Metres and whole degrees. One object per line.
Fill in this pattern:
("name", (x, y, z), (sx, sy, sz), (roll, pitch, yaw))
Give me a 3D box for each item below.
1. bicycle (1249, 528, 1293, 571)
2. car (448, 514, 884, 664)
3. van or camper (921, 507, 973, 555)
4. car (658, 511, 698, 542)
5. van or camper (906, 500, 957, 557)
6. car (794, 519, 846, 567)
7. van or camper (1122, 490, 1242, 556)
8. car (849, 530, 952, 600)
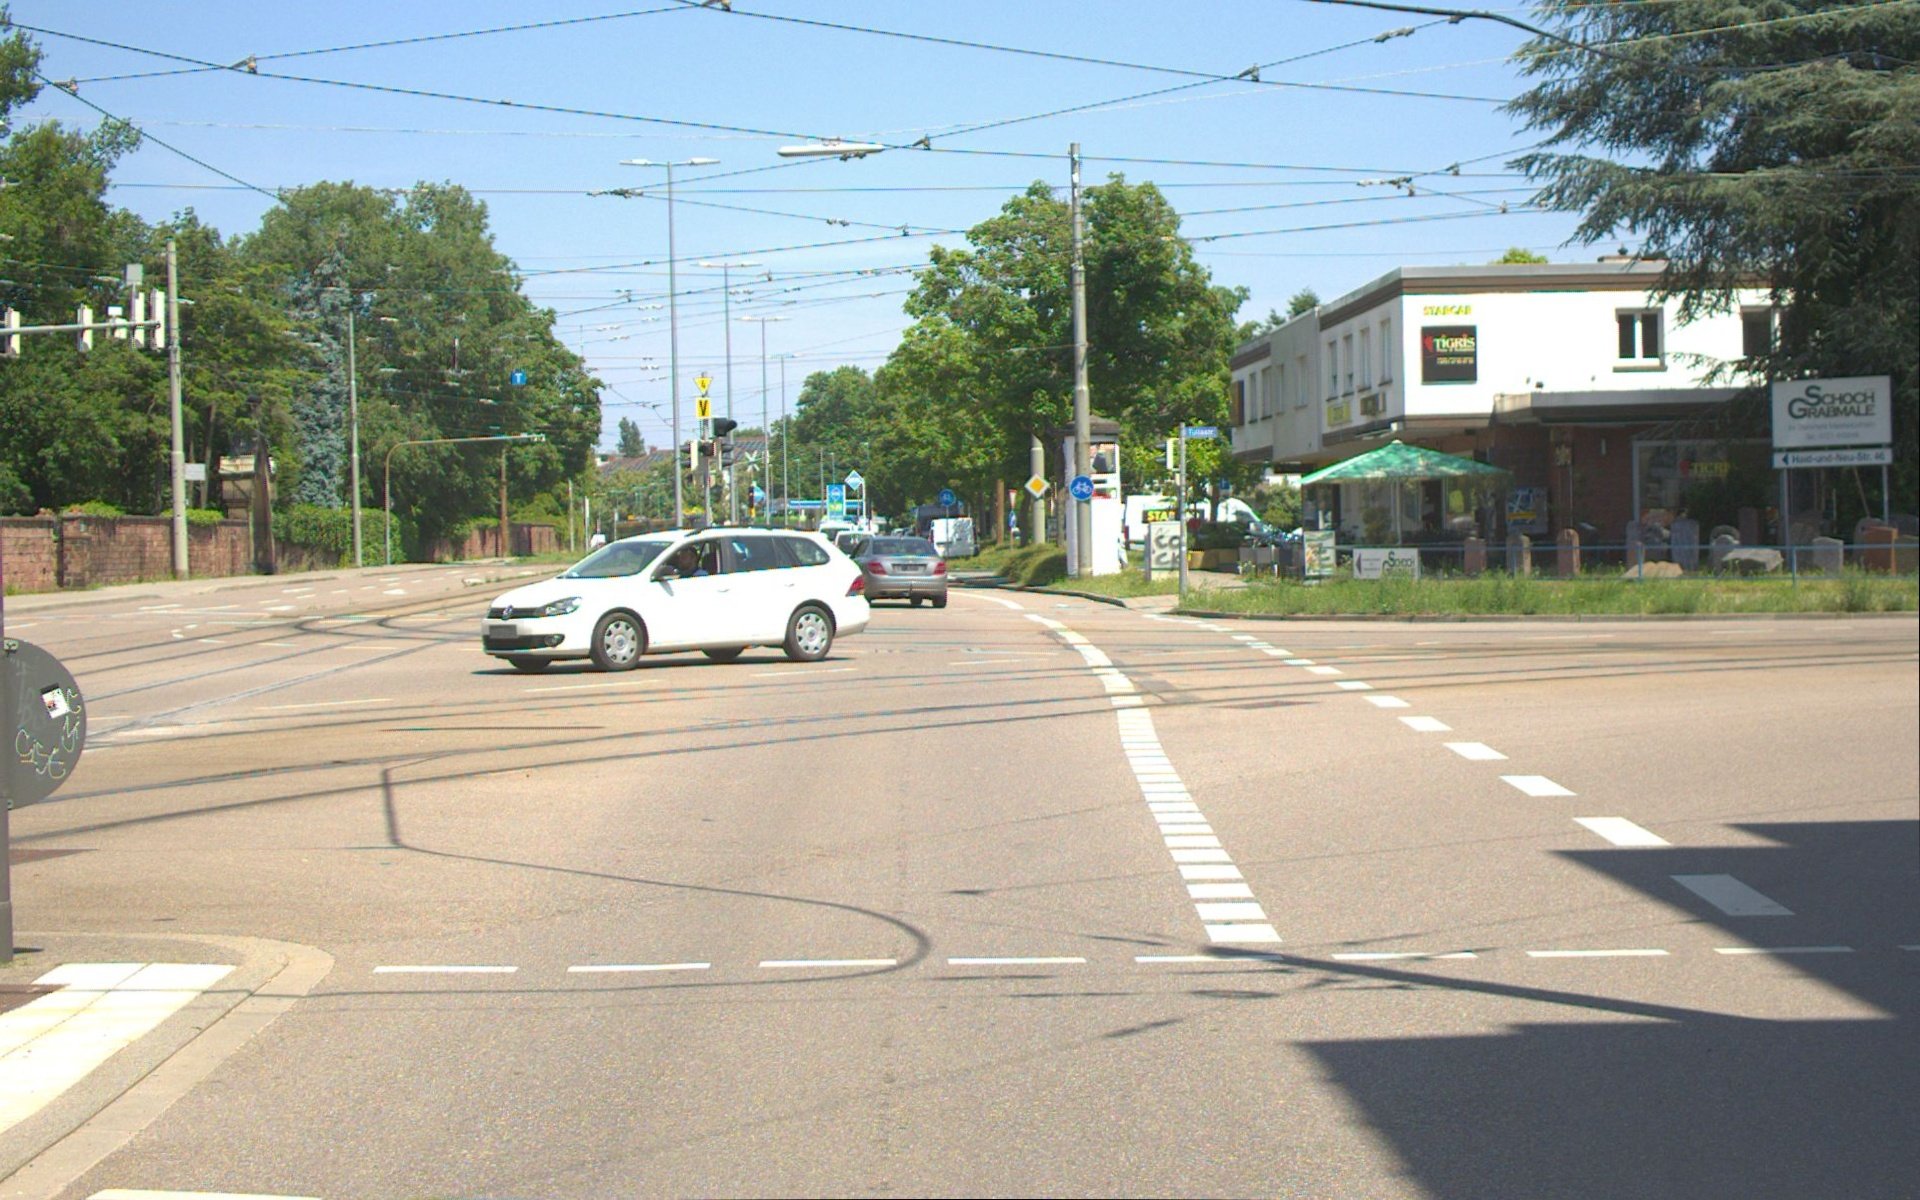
("bicycle", (7.655, -1.251, 84.468), (1.034, 1.011, 2.636), (-1, 1, 6))
("car", (-3.125, -0.155, 37.176), (4.486, 1.484, 1.823), (-2, 2, -42))
("van or camper", (-0.504, -2.624, 130.355), (1.922, 1.766, 4.000), (-1, 1, -1))
("car", (-15.358, -4.038, 187.336), (1.820, 1.597, 4.521), (0, 2, 0))
("van or camper", (-1.264, -3.172, 152.820), (1.993, 2.456, 4.001), (-1, 1, -4))
("car", (-5.621, -2.293, 137.898), (1.993, 1.853, 4.001), (-1, 1, -3))
("van or camper", (9.243, -3.219, 143.375), (4.756, 2.662, 2.136), (-1, 1, -3))
("car", (-1.221, -0.723, 69.398), (1.636, 1.346, 3.843), (-1, 1, -7))
